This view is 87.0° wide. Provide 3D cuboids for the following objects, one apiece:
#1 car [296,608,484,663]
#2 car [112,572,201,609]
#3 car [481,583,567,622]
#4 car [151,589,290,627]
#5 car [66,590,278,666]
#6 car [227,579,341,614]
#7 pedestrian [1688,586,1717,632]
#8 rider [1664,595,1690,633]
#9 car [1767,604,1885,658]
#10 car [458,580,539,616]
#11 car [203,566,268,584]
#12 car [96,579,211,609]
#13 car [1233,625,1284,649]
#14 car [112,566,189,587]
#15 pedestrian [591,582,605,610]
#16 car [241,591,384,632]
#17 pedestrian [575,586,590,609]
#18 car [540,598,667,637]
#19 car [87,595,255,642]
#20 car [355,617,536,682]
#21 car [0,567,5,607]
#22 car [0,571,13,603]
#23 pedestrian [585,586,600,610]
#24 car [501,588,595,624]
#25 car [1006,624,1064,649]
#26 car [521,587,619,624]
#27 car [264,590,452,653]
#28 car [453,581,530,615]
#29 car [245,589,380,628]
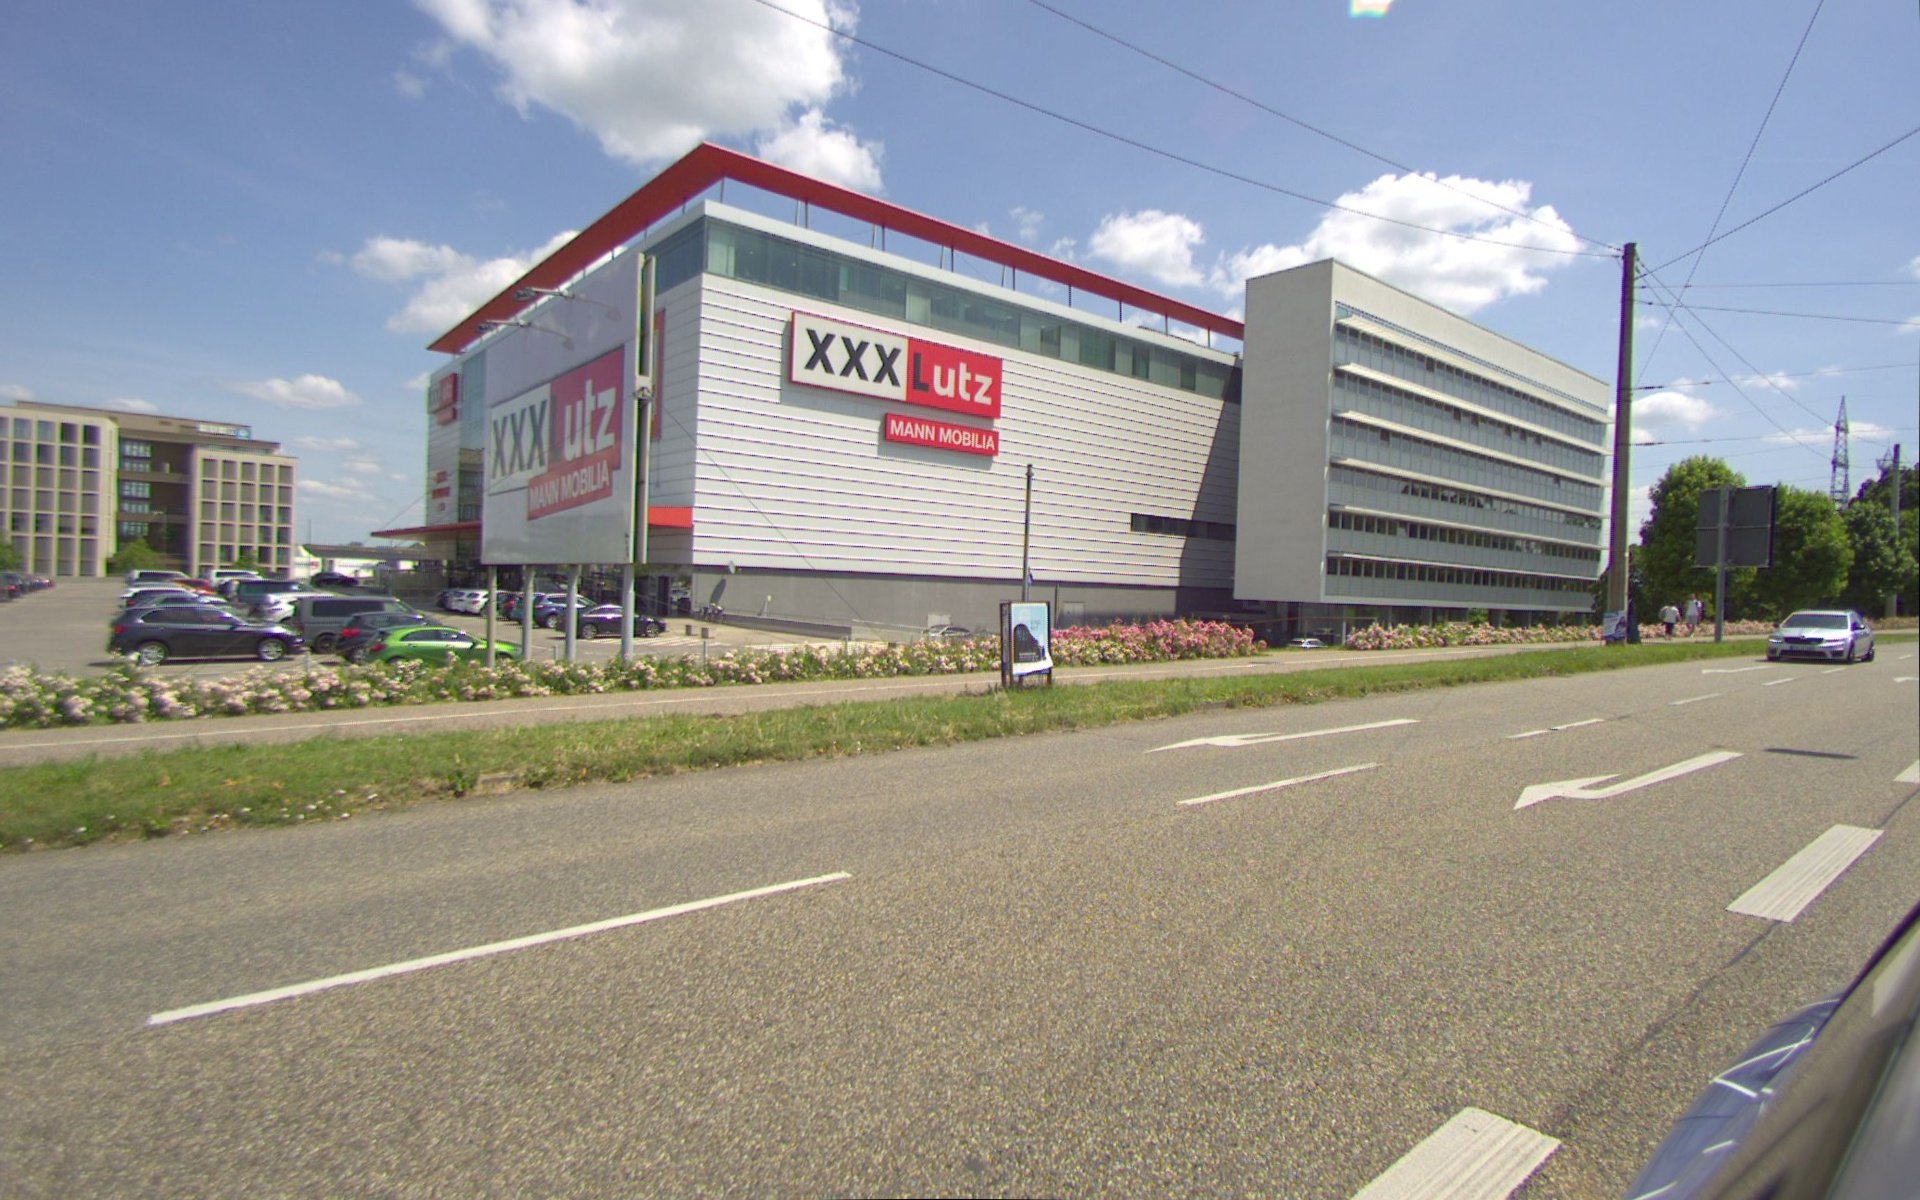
[{"bbox_3d":[-17.944,1.065,32.013,4.913,1.570,1.997,0,0,-41],"label":"car"},{"bbox_3d":[-45.866,-0.537,57.791,3.930,2.039,1.997,0,0,-41],"label":"car"},{"bbox_3d":[-23.914,0.120,55.533,3.930,2.039,1.997,0,1,-41],"label":"car"},{"bbox_3d":[-33.408,0.337,45.794,4.915,1.631,1.996,0,0,-42],"label":"car"},{"bbox_3d":[-23.612,0.778,30.475,4.913,2.038,1.998,0,2,-41],"label":"car"},{"bbox_3d":[-38.084,-0.205,57.076,5.094,1.888,1.996,0,0,-43],"label":"car"},{"bbox_3d":[30.734,0.379,41.872,0.914,1.872,0.758,0,0,-38],"label":"pedestrian"},{"bbox_3d":[27.577,0.532,38.921,0.607,1.476,0.670,0,0,-41],"label":"rider"},{"bbox_3d":[23.915,0.803,27.905,3.929,1.356,1.895,0,0,-41],"label":"car"},{"bbox_3d":[-27.268,-0.132,59.826,3.930,2.039,1.997,0,0,-41],"label":"car"},{"bbox_3d":[-68.602,-2.333,95.857,4.913,1.631,1.997,0,0,-41],"label":"car"},{"bbox_3d":[-44.398,-0.317,55.784,4.913,1.631,1.997,0,0,-41],"label":"car"},{"bbox_3d":[23.064,2.839,78.227,3.930,1.632,1.997,0,0,-41],"label":"car"},{"bbox_3d":[-67.128,-1.892,83.984,4.913,1.631,1.997,0,0,-41],"label":"car"},{"bbox_3d":[-25.158,-0.289,70.318,0.723,1.893,0.741,1,0,-43],"label":"pedestrian"},{"bbox_3d":[-27.601,0.472,43.228,4.913,1.631,1.997,0,0,-41],"label":"car"},{"bbox_3d":[-25.970,-0.161,69.639,0.723,1.577,0.741,1,0,-43],"label":"pedestrian"},{"bbox_3d":[-15.793,0.731,44.984,4.913,1.631,1.997,0,0,-41],"label":"car"},{"bbox_3d":[-29.785,0.655,38.326,4.913,1.630,1.997,0,1,-41],"label":"car"},{"bbox_3d":[-14.604,1.332,28.833,4.227,1.514,1.998,0,4,-41],"label":"car"},{"bbox_3d":[-59.083,-0.790,58.950,4.913,2.332,1.997,0,0,-41],"label":"car"},{"bbox_3d":[-63.291,-0.827,64.718,3.930,2.039,1.997,0,1,-41],"label":"car"},{"bbox_3d":[-25.106,-0.142,69.060,0.723,1.577,0.741,1,0,-43],"label":"pedestrian"},{"bbox_3d":[-21.951,0.321,53.983,4.257,1.804,1.997,0,-1,-41],"label":"car"},{"bbox_3d":[5.459,2.625,73.237,3.930,1.632,1.997,0,0,-41],"label":"car"},{"bbox_3d":[-19.923,0.294,51.800,4.257,1.804,1.997,0,-1,-41],"label":"car"},{"bbox_3d":[-21.103,0.707,35.646,5.437,2.039,1.997,0,0,-41],"label":"car"},{"bbox_3d":[-28.711,-0.129,62.048,3.930,2.039,1.997,0,1,-41],"label":"car"},{"bbox_3d":[-29.119,0.359,45.620,4.913,1.671,1.997,0,0,-41],"label":"car"}]
